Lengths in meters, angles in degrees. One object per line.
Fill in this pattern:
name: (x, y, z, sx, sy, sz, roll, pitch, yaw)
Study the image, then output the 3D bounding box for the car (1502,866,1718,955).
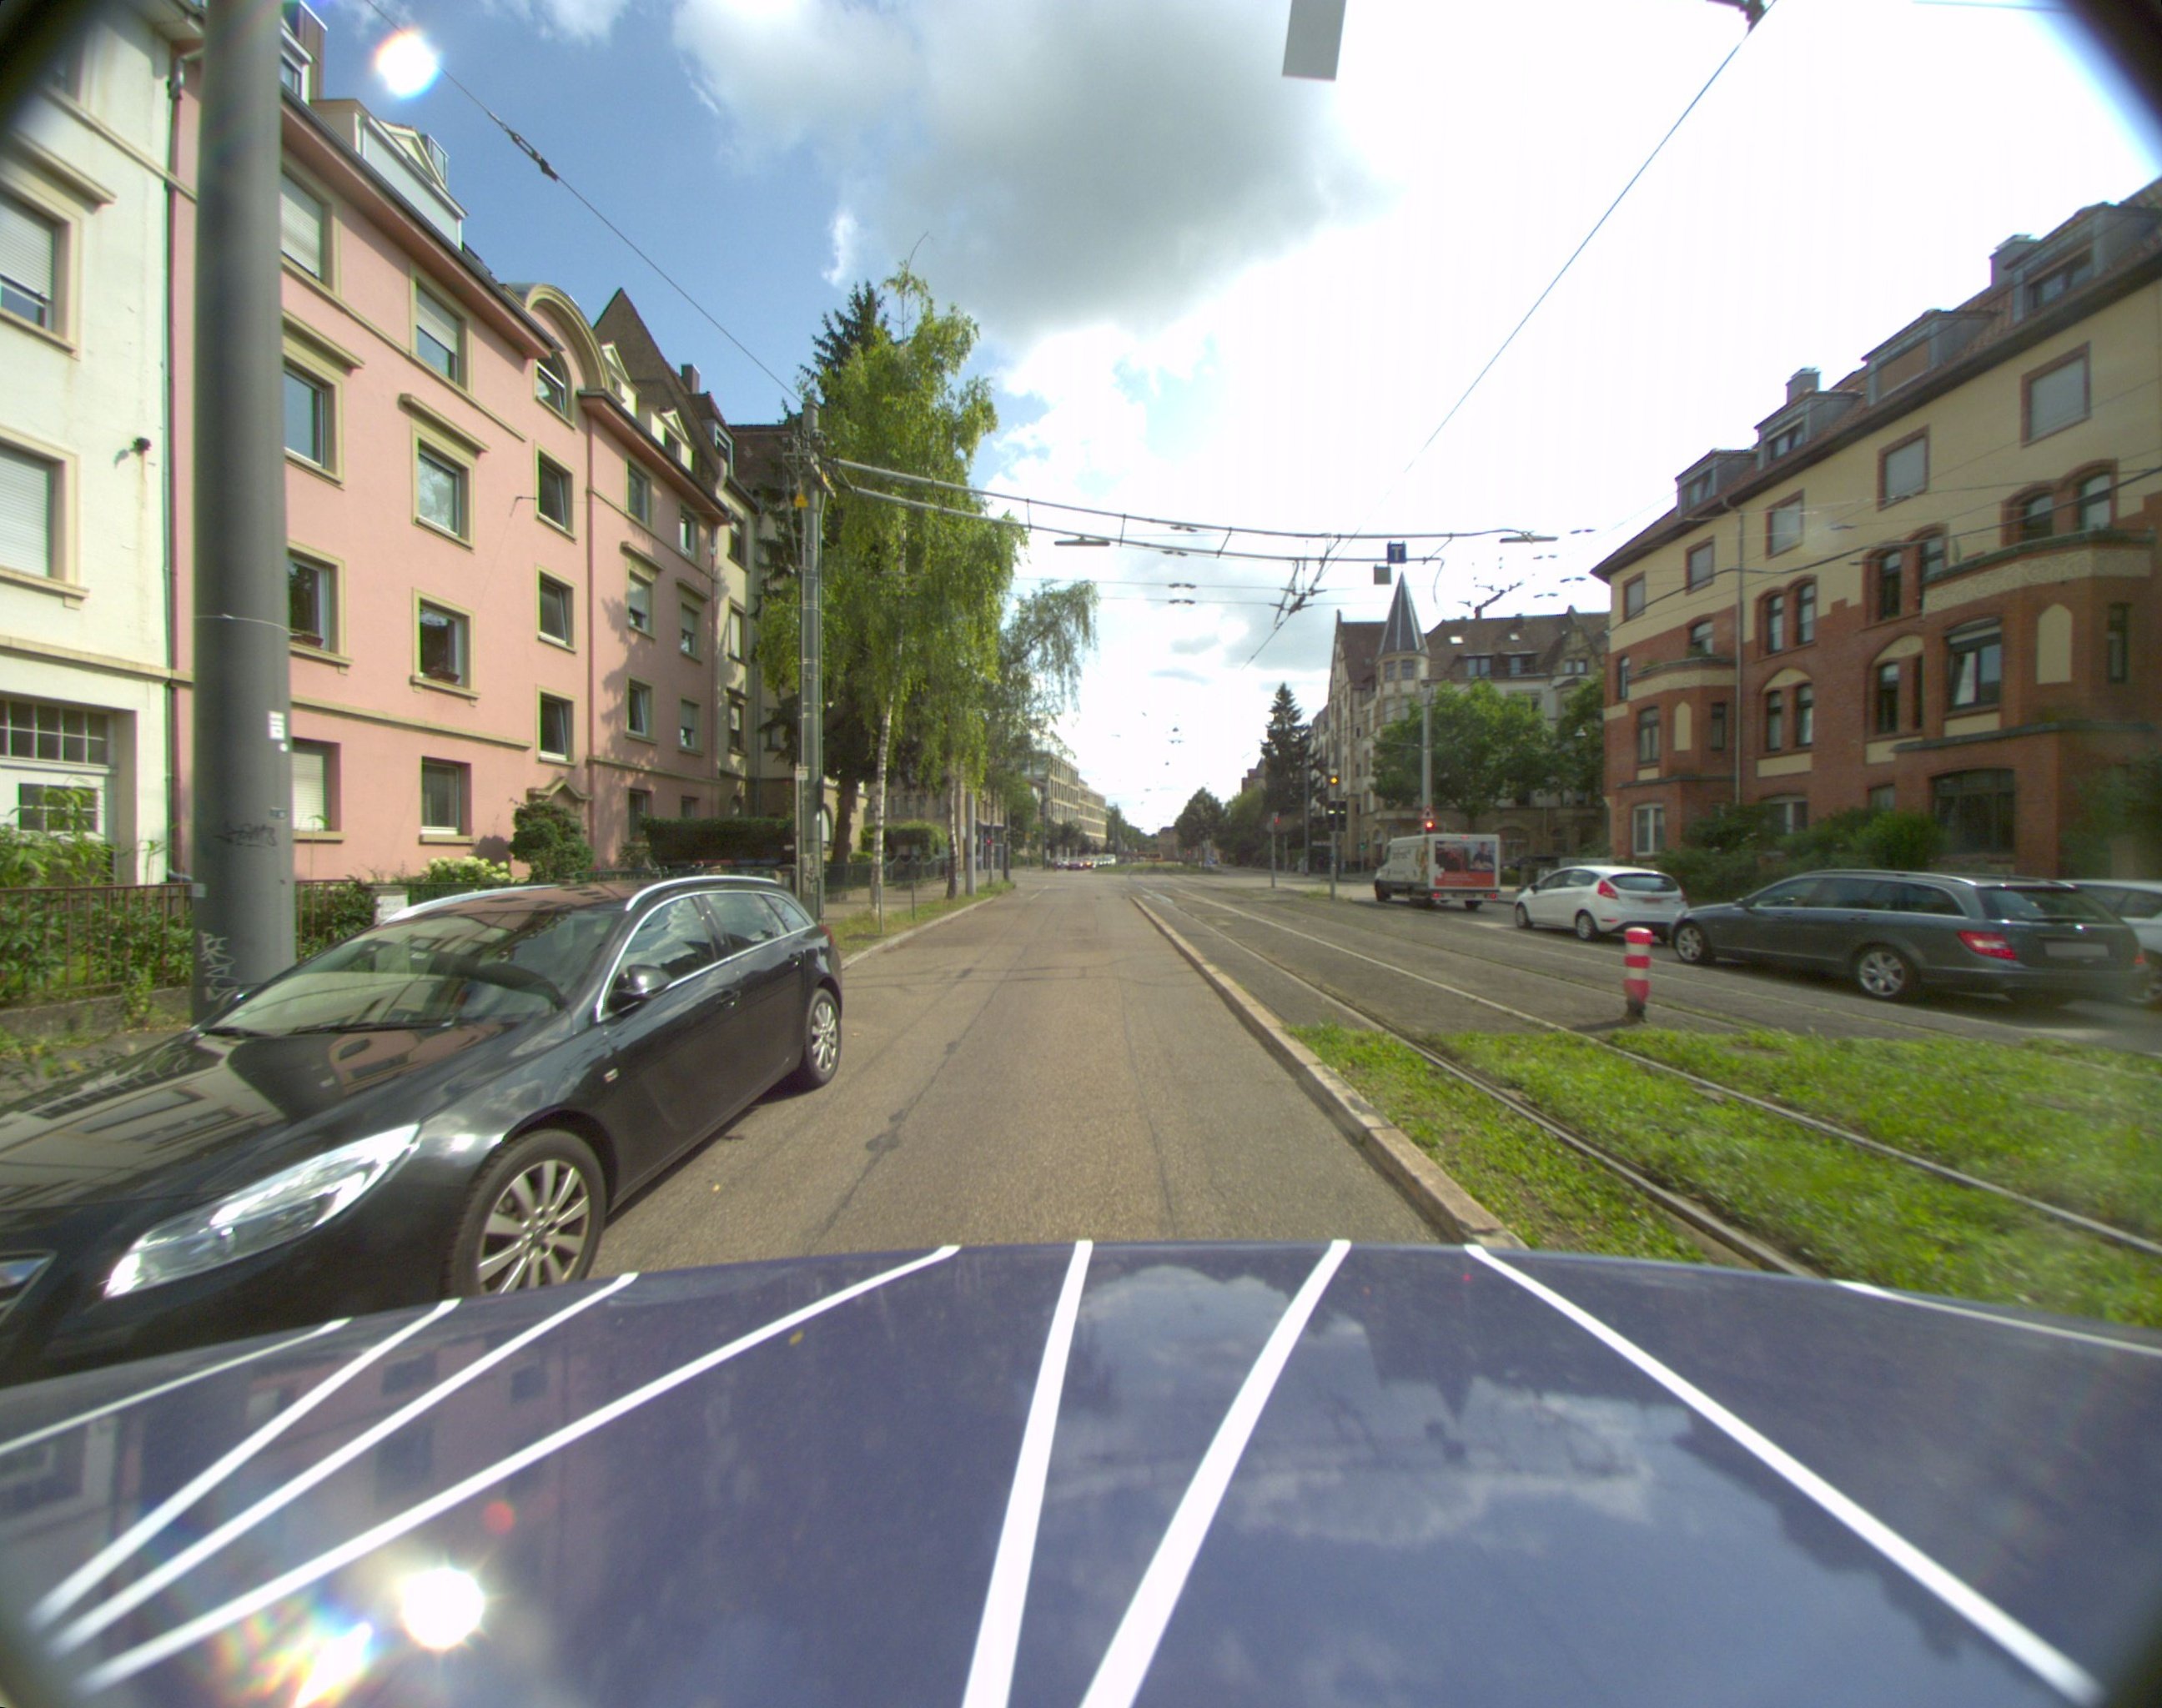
car: (10.432, 1.024, 15.432, 1.758, 1.406, 4.135, 2, 1, 5)

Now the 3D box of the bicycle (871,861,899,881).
bicycle: (-9.964, 0.871, 38.644, 1.315, 0.996, 0.453, 0, 1, 0)

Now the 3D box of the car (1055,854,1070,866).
car: (-2.453, 0.780, 101.217, 1.835, 1.674, 4.000, 0, 0, 1)

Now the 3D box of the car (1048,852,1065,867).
car: (-3.022, 0.685, 93.082, 1.999, 1.730, 4.000, 0, 0, 0)

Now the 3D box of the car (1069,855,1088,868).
car: (-0.272, 0.827, 82.955, 1.740, 1.313, 4.001, -2, 0, 5)

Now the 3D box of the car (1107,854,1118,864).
car: (5.528, 0.858, 133.572, 1.645, 1.610, 3.714, 0, 0, 5)

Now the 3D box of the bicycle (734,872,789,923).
bicycle: (-7.074, 0.936, 16.885, 0.420, 1.046, 1.778, 0, 0, 2)

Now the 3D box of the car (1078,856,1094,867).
car: (0.613, 0.842, 90.924, 1.619, 1.265, 4.001, -1, 0, 5)

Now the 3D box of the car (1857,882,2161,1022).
car: (12.424, 1.108, 9.355, 1.759, 1.348, 3.995, 0, 0, 3)

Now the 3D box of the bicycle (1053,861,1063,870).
bicycle: (-2.303, 1.137, 76.304, 0.771, 0.885, 1.893, 0, 0, 7)

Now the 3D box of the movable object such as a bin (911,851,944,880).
movable object such as a bin: (-8.027, 0.573, 39.825, 1.305, 1.483, 2.000, 0, 0, 2)

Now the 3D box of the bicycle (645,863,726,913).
bicycle: (-9.809, 0.831, 18.846, 1.777, 1.213, 0.421, 0, 1, 0)

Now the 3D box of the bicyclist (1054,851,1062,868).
bicyclist: (-2.287, 0.508, 76.435, 0.665, 1.679, 0.857, 1, 1, 7)

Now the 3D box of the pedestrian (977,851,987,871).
pedestrian: (-8.942, 0.640, 68.737, 0.737, 1.832, 0.806, -1, 1, -14)

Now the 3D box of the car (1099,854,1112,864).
car: (3.815, 0.728, 118.588, 1.738, 1.570, 4.001, 1, 0, 5)

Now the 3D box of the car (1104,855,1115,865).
car: (4.731, 1.001, 125.530, 1.579, 1.549, 4.001, 0, 0, 5)

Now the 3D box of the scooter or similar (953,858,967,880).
scooter or similar: (-6.644, 0.792, 41.710, 0.521, 1.172, 1.188, 2, 0, 2)

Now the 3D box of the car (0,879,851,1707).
car: (-2.697, 0.992, 3.482, 1.796, 1.512, 4.526, -3, 0, 1)

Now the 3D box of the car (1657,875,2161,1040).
car: (9.724, 1.045, 9.473, 1.759, 1.348, 4.512, 2, 1, 3)

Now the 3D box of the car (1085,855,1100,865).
car: (1.542, 0.784, 98.631, 1.619, 1.265, 4.001, -1, 0, 5)

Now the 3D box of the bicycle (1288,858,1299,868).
bicycle: (20.616, 0.869, 73.808, 0.625, 0.966, 2.336, 0, 0, 5)

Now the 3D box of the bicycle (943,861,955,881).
bicycle: (-7.083, 0.889, 40.719, 0.350, 1.016, 1.481, 3, 0, 0)

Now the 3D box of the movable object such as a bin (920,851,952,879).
movable object such as a bin: (-7.980, 0.600, 41.974, 1.305, 1.483, 2.000, 0, 0, 2)

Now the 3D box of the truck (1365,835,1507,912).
truck: (11.542, 0.563, 25.364, 2.189, 2.201, 6.615, 1, 0, 6)
